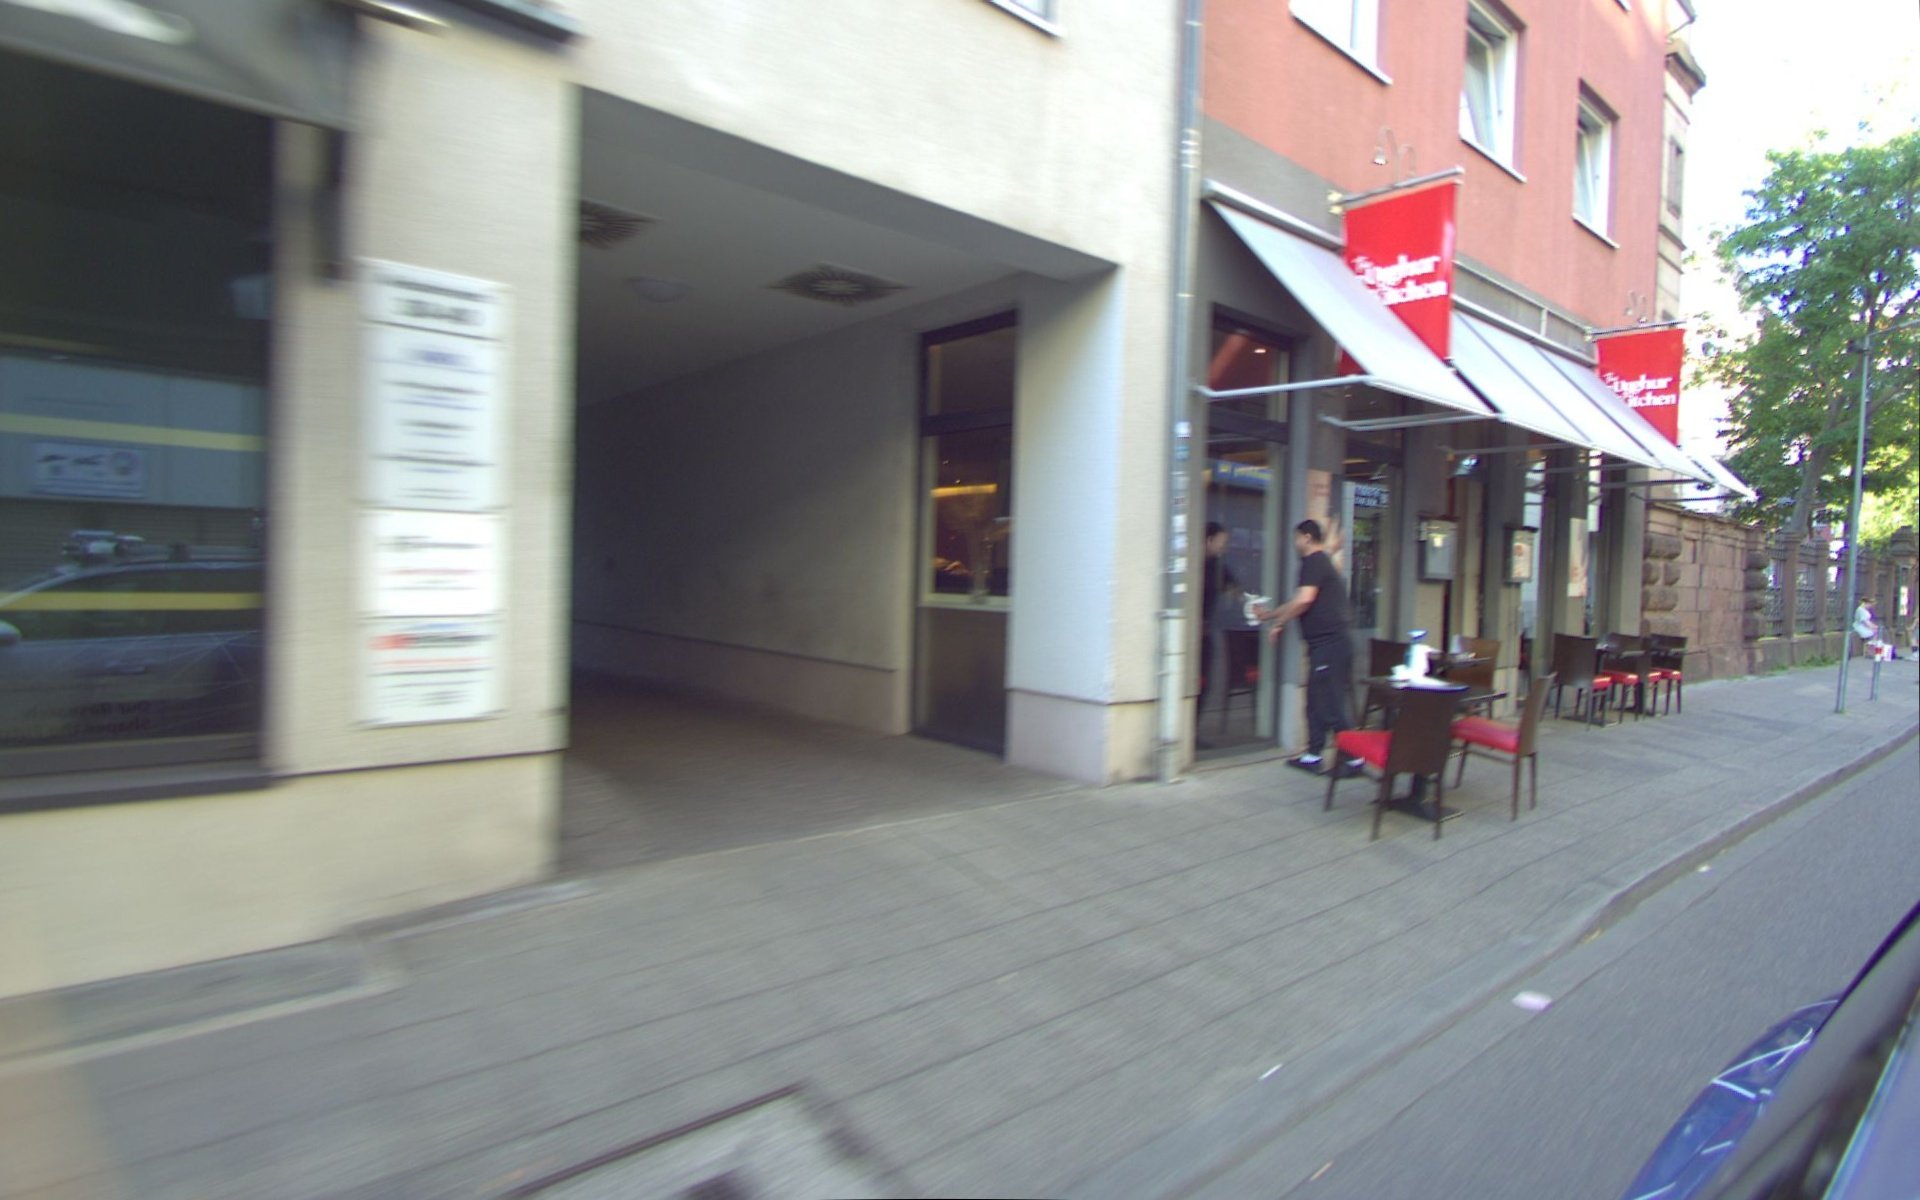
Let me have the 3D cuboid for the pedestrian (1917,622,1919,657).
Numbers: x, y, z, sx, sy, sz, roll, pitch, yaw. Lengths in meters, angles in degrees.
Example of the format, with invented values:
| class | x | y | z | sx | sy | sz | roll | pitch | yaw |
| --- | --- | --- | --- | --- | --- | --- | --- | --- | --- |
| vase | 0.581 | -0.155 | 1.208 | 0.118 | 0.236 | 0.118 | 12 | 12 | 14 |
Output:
| class | x | y | z | sx | sy | sz | roll | pitch | yaw |
| --- | --- | --- | --- | --- | --- | --- | --- | --- | --- |
| pedestrian | 23.137 | 0.530 | 23.992 | 0.546 | 1.666 | 0.439 | 1 | 3 | -33 |

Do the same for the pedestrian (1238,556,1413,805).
| class | x | y | z | sx | sy | sz | roll | pitch | yaw |
| --- | --- | --- | --- | --- | --- | --- | --- | --- | --- |
| pedestrian | 2.401 | 0.476 | 6.673 | 0.649 | 1.504 | 0.826 | 1 | 2 | -41 |

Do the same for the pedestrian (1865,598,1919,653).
| class | x | y | z | sx | sy | sz | roll | pitch | yaw |
| --- | --- | --- | --- | --- | --- | --- | --- | --- | --- |
| pedestrian | 22.528 | 0.604 | 24.419 | 0.356 | 1.264 | 0.927 | 1 | 3 | -43 |

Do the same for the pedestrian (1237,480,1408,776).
| class | x | y | z | sx | sy | sz | roll | pitch | yaw |
| --- | --- | --- | --- | --- | --- | --- | --- | --- | --- |
| pedestrian | 2.379 | 0.148 | 6.660 | 0.717 | 1.814 | 0.660 | 1 | 4 | -39 |
